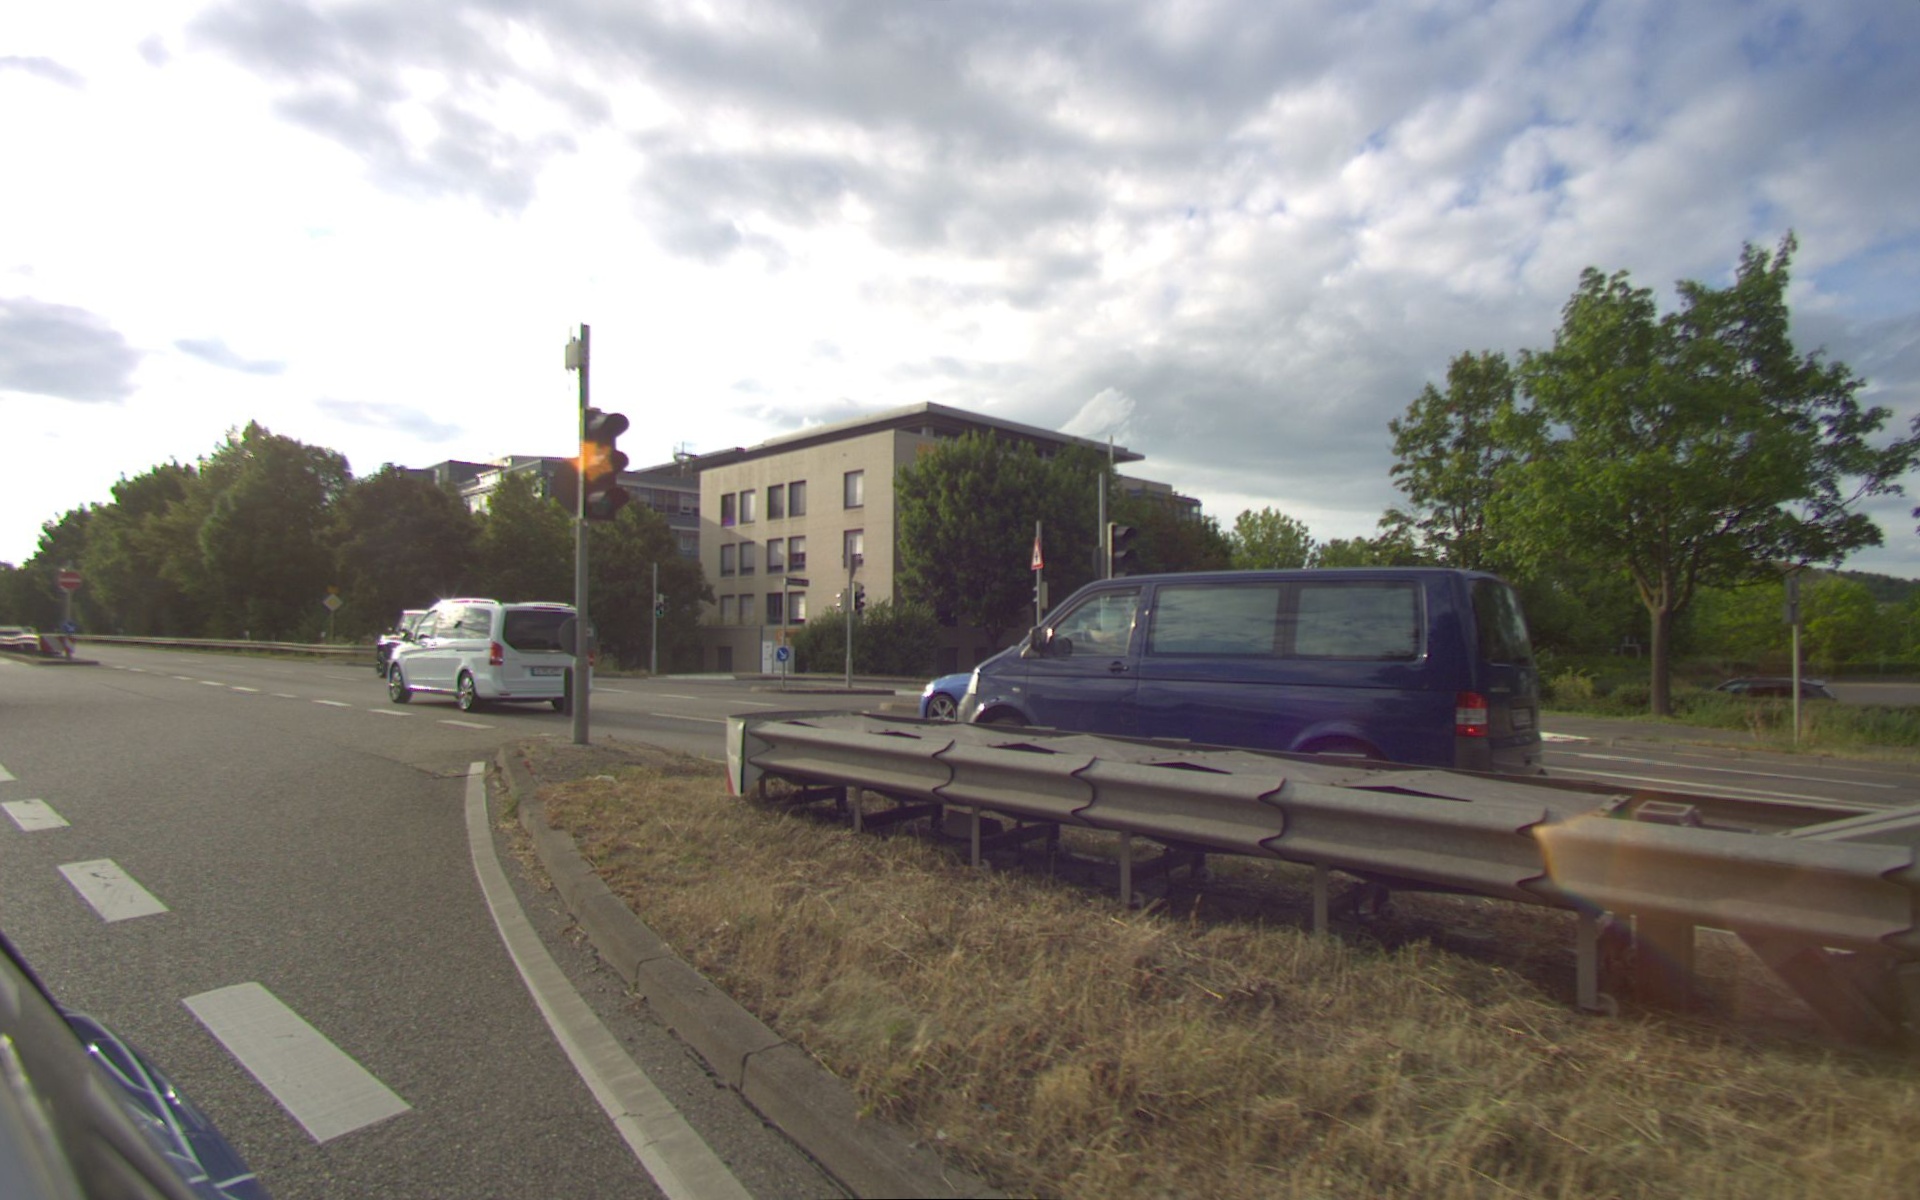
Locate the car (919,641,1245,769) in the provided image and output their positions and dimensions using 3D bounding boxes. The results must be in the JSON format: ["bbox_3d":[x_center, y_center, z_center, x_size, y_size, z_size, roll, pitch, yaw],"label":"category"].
[{"bbox_3d":[1.519,1.289,13.592,4.185,1.398,1.630,-1,-3,42],"label":"car"}]

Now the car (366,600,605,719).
[{"bbox_3d":[-8.807,1.021,18.541,5.344,1.886,1.914,-1,-3,41],"label":"car"}]

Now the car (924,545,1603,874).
[{"bbox_3d":[2.195,0.746,8.372,5.049,1.931,1.878,-1,-5,42],"label":"car"}]

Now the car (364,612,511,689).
[{"bbox_3d":[-14.954,1.398,28.848,5.088,2.005,1.914,-1,-3,41],"label":"car"}]
